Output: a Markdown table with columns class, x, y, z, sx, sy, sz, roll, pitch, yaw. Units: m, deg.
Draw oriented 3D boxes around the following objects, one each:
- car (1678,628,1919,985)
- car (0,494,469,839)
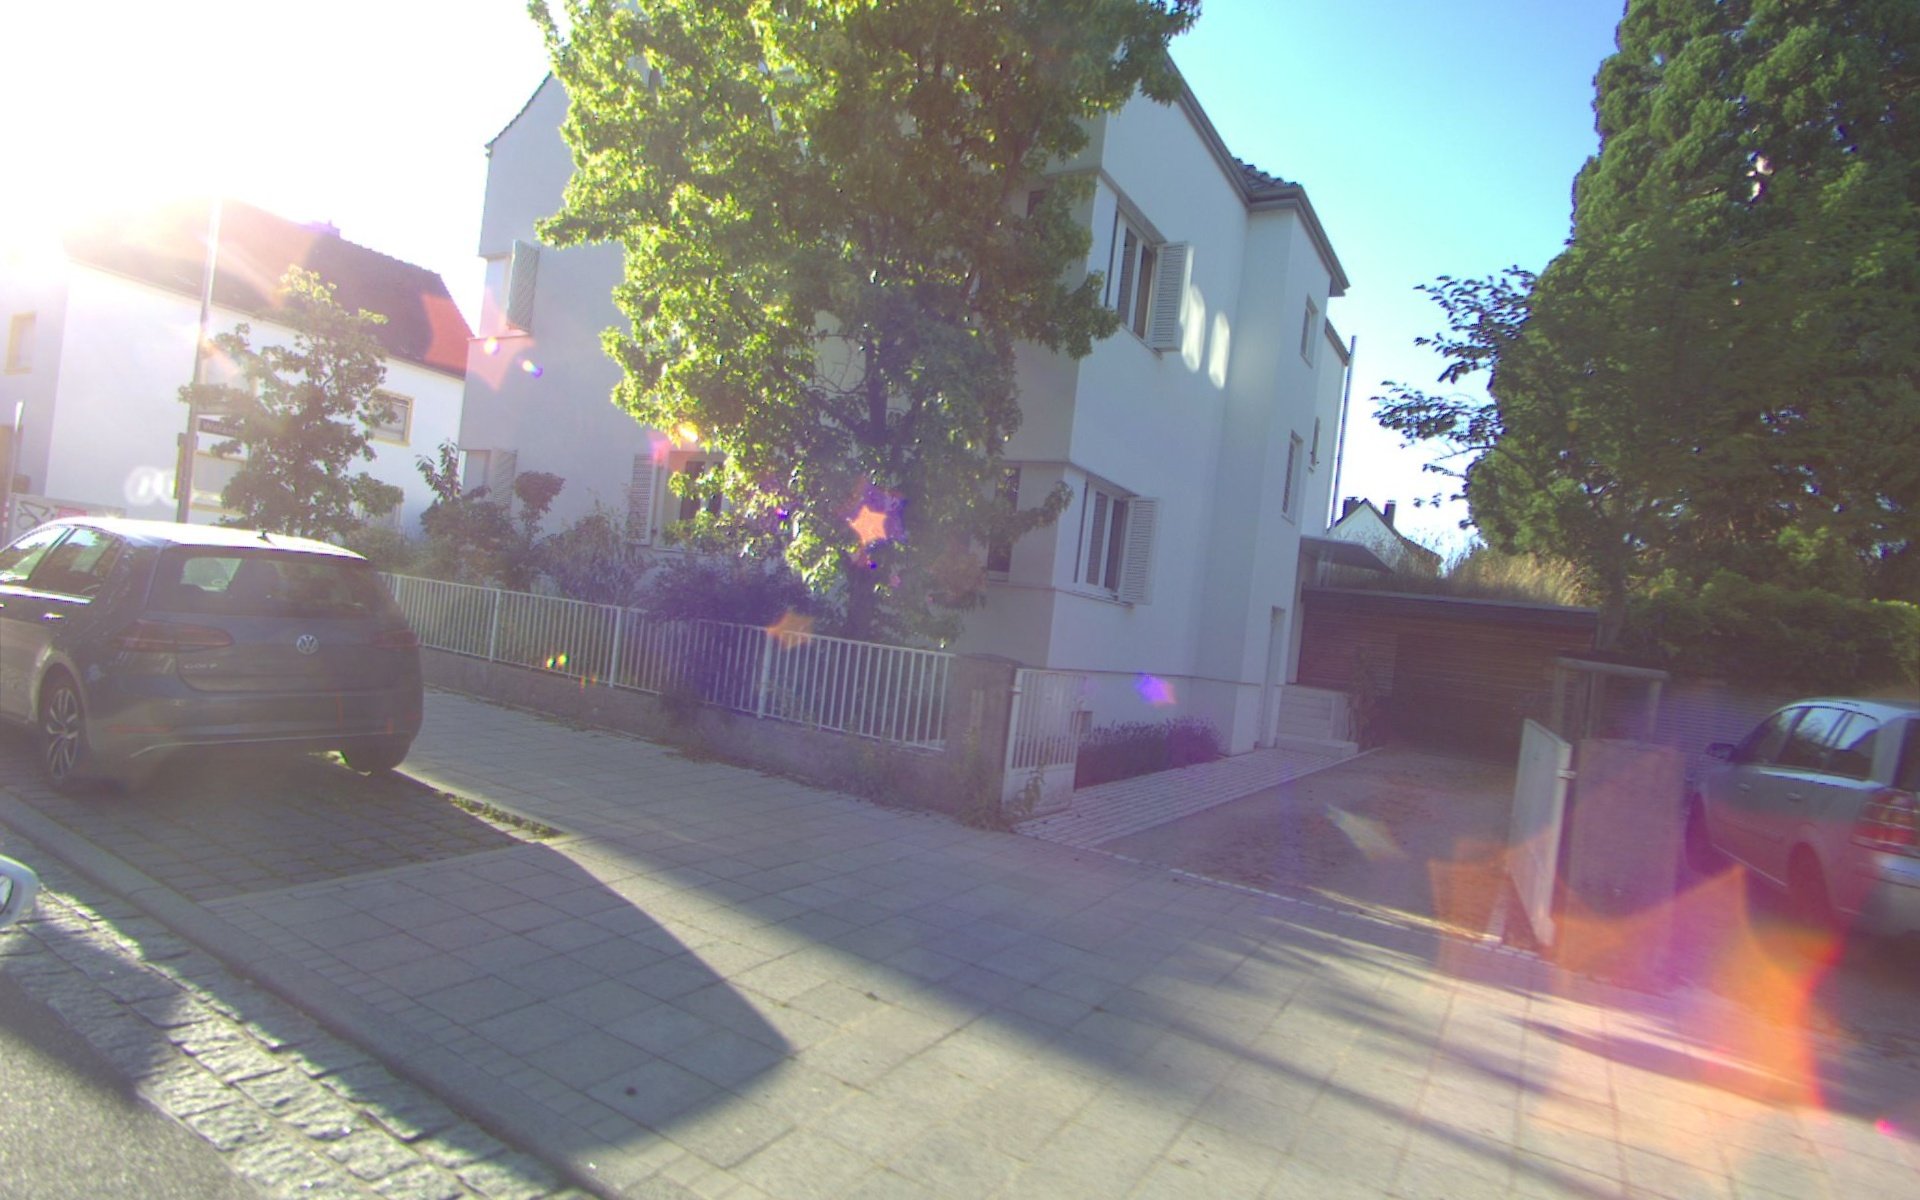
| class | x | y | z | sx | sy | sz | roll | pitch | yaw |
| --- | --- | --- | --- | --- | --- | --- | --- | --- | --- |
| car | 6.547 | 1.386 | 6.888 | 1.783 | 1.865 | 3.997 | 8 | -2 | 26 |
| car | -5.261 | 0.198 | 6.548 | 4.056 | 1.502 | 1.794 | 7 | 2 | 33 |
